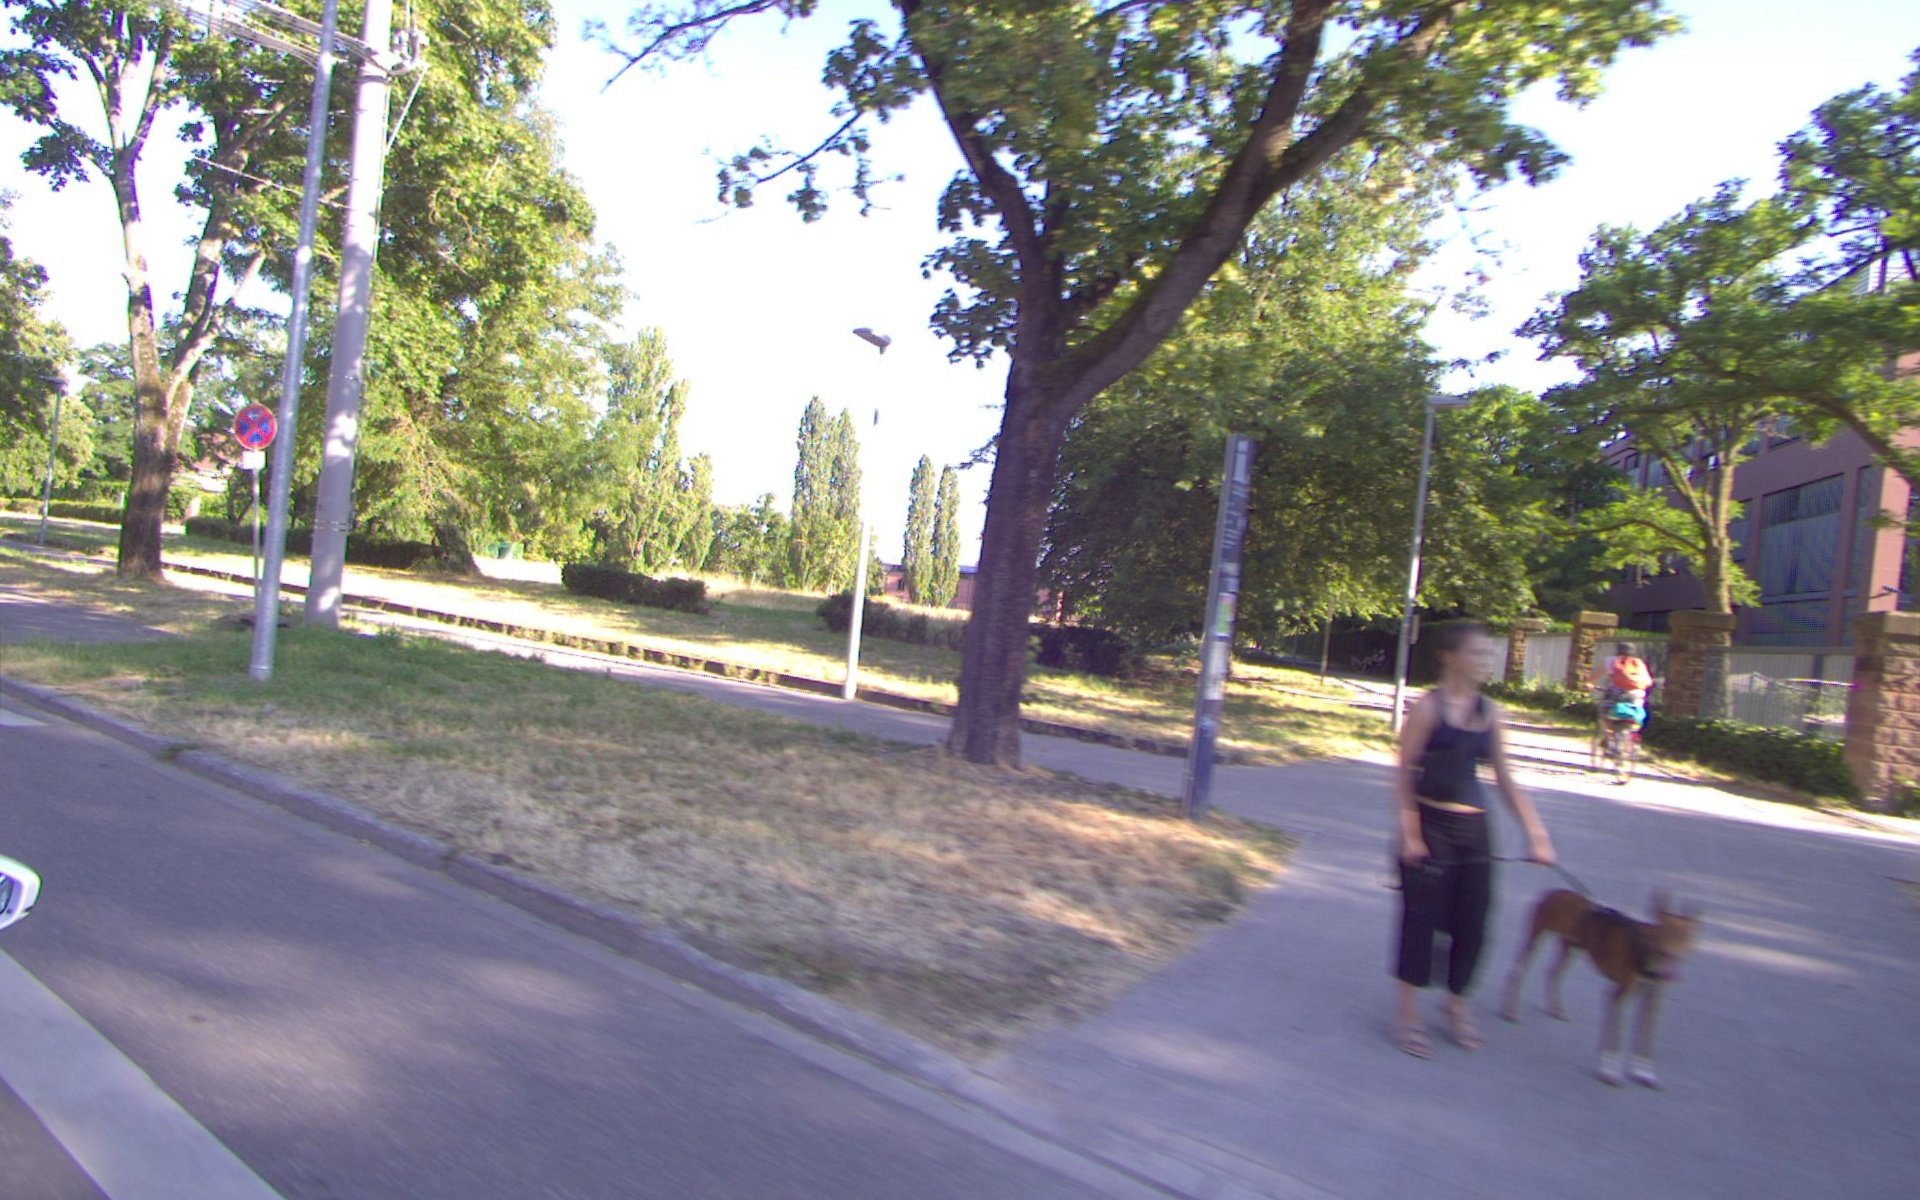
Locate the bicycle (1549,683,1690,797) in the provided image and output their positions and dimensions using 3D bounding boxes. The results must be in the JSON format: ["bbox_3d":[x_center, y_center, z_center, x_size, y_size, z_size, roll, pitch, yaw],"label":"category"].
[{"bbox_3d":[7.859,1.618,12.124,0.752,1.053,2.267,7,0,18],"label":"bicycle"}]

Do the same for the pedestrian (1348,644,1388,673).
[{"bbox_3d":[18.957,2.726,46.778,1.503,1.128,0.893,7,-2,17],"label":"pedestrian"}]

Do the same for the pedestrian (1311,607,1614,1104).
[{"bbox_3d":[1.989,0.906,3.991,0.848,1.669,0.660,6,3,32],"label":"pedestrian"}]

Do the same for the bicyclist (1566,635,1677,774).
[{"bbox_3d":[7.889,1.220,12.045,0.752,1.515,0.906,7,1,18],"label":"bicyclist"}]
